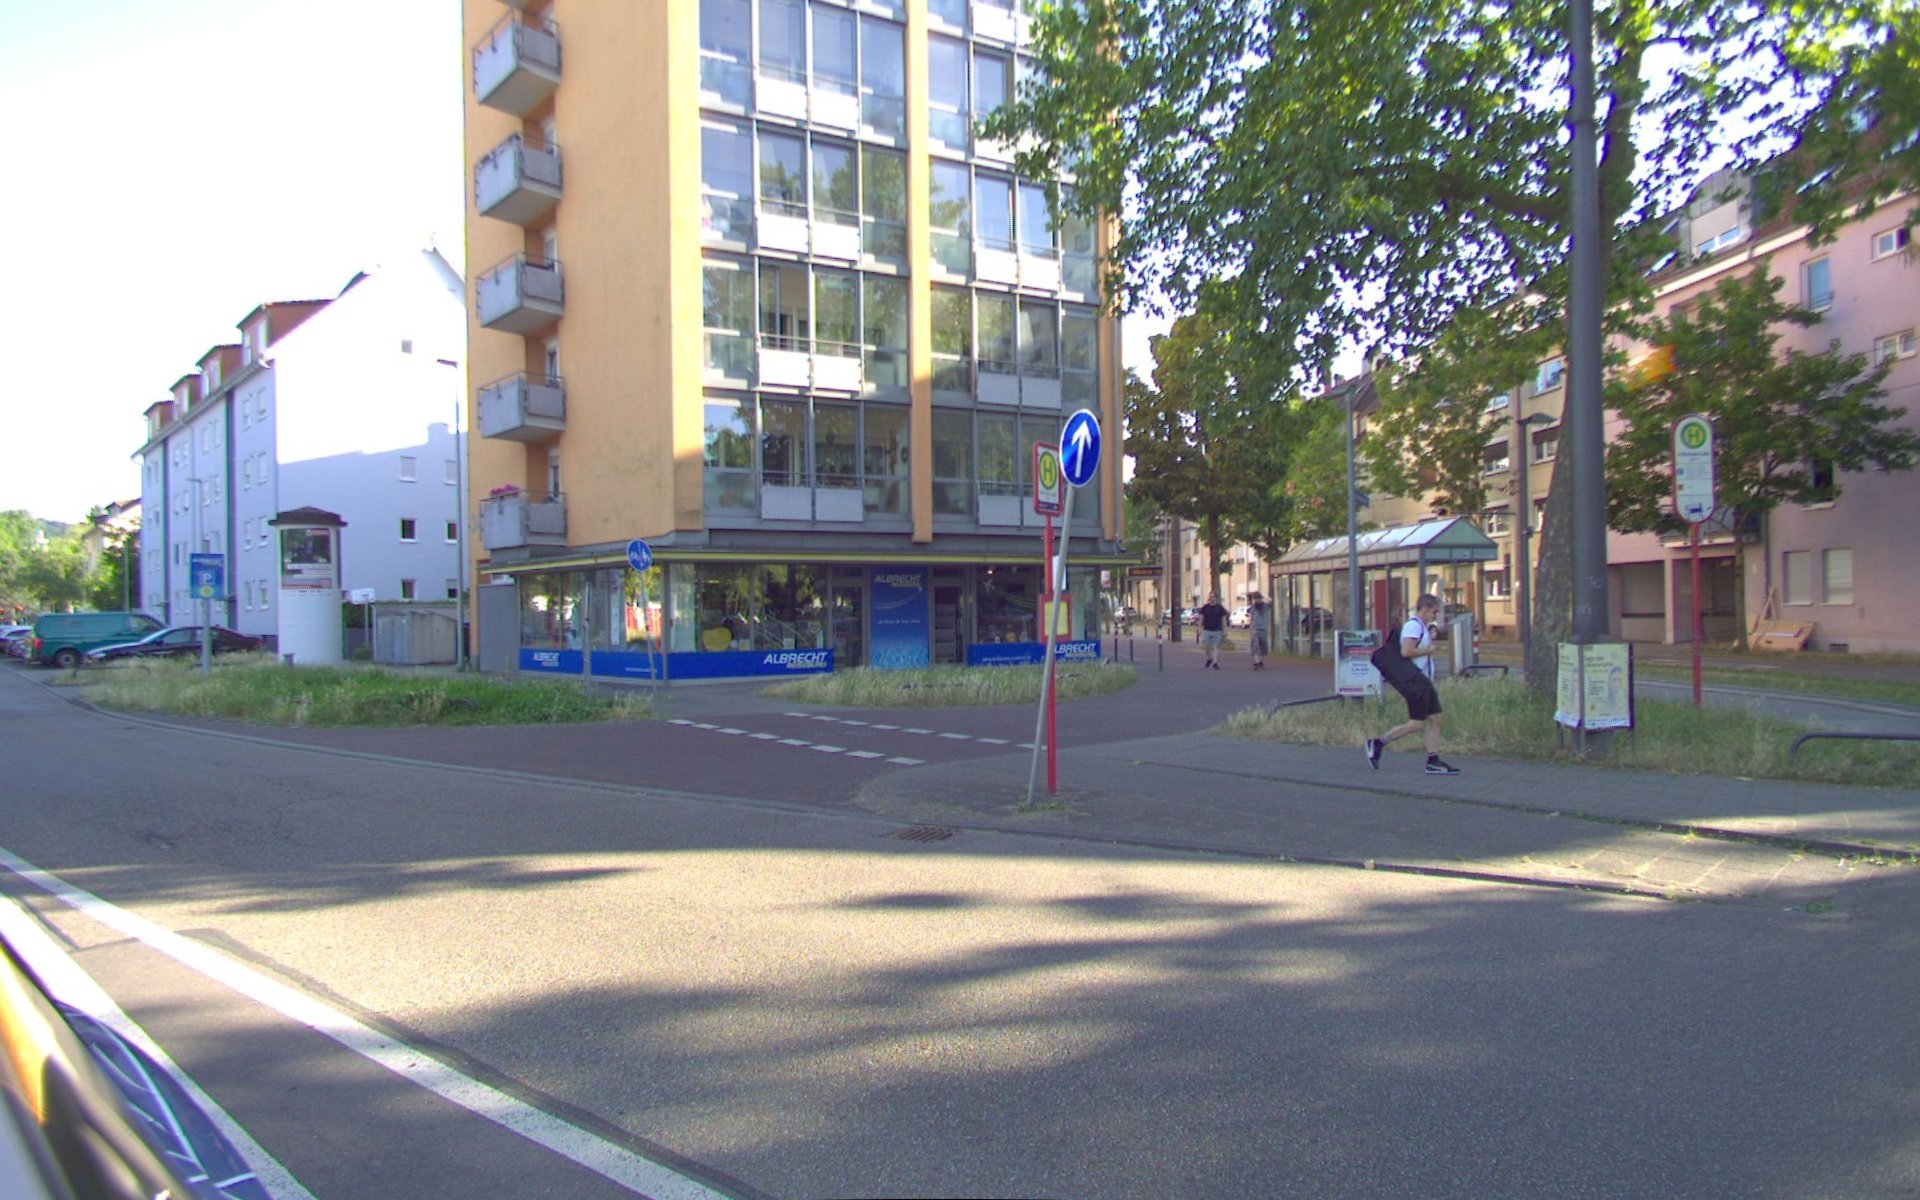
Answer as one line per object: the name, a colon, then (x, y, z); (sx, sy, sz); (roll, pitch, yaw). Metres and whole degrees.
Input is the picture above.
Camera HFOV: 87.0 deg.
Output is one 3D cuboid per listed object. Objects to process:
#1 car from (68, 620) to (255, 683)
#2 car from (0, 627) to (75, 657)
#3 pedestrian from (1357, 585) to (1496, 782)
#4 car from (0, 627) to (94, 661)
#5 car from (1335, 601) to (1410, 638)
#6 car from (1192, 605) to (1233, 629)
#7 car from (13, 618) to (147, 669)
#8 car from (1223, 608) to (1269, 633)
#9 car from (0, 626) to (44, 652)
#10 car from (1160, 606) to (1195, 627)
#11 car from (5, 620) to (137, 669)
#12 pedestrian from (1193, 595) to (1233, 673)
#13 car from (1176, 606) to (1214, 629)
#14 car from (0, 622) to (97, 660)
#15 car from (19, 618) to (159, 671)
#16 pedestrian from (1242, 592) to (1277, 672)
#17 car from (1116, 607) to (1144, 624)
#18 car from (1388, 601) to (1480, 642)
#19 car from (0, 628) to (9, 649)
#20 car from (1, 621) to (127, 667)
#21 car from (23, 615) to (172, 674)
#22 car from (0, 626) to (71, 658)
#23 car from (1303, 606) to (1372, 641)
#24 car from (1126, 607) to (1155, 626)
car: (-24.279, 1.507, 30.869); (4.361, 1.674, 2.003); (-1, 0, -41)
car: (-55.667, 2.499, 60.384); (4.199, 1.585, 1.867); (-1, 0, -44)
pedestrian: (4.384, 0.748, 9.601); (1.080, 1.750, 0.897); (-1, 0, 19)
car: (-48.127, 2.272, 52.960); (4.199, 1.585, 1.867); (-1, 0, -44)
car: (19.898, 0.911, 48.992); (1.911, 1.719, 3.827); (-1, 0, -3)
car: (18.696, 1.256, 75.162); (1.808, 1.719, 4.059); (-1, 0, -3)
car: (-35.127, 1.671, 40.437); (3.941, 1.829, 2.001); (-1, 0, -44)
car: (19.164, 1.337, 68.057); (1.741, 1.588, 4.049); (-1, 0, -3)
car: (-63.503, 2.600, 66.996); (4.199, 1.585, 1.867); (-1, 0, -44)
car: (18.422, 1.382, 85.805); (1.830, 1.719, 4.170); (-1, 0, -3)
car: (-36.865, 1.805, 42.015); (4.003, 1.829, 1.938); (-1, 0, -44)
pedestrian: (5.819, 0.769, 23.295); (0.803, 1.763, 0.538); (-1, 0, 6)
car: (18.634, 1.341, 80.351); (1.771, 1.719, 4.170); (-1, 0, -3)
car: (-46.125, 2.035, 50.869); (4.061, 1.785, 1.758); (-1, 0, -44)
car: (-33.127, 1.646, 38.534); (3.941, 1.829, 2.001); (-1, 0, -44)
pedestrian: (6.716, 0.709, 22.709); (0.622, 1.763, 0.689); (-1, 0, 6)
car: (17.725, 1.624, 105.551); (1.911, 1.719, 4.372); (-1, 0, -3)
car: (20.739, 0.901, 44.437); (1.911, 1.719, 4.115); (-1, 0, -3)
car: (-74.767, 2.984, 76.965); (3.490, 1.585, 1.867); (-1, 0, -44)
car: (-38.834, 1.862, 43.933); (4.016, 1.765, 1.900); (-1, 0, -44)
car: (-31.222, 1.555, 36.691); (2.001, 1.962, 3.942); (-1, 0, 44)
car: (-55.800, 2.469, 60.438); (4.016, 1.765, 1.900); (-1, 0, -44)
car: (19.909, 1.194, 53.604); (1.911, 1.719, 4.115); (-1, 0, -3)
car: (17.775, 1.625, 99.877); (1.911, 1.719, 4.003); (-1, 0, -3)
